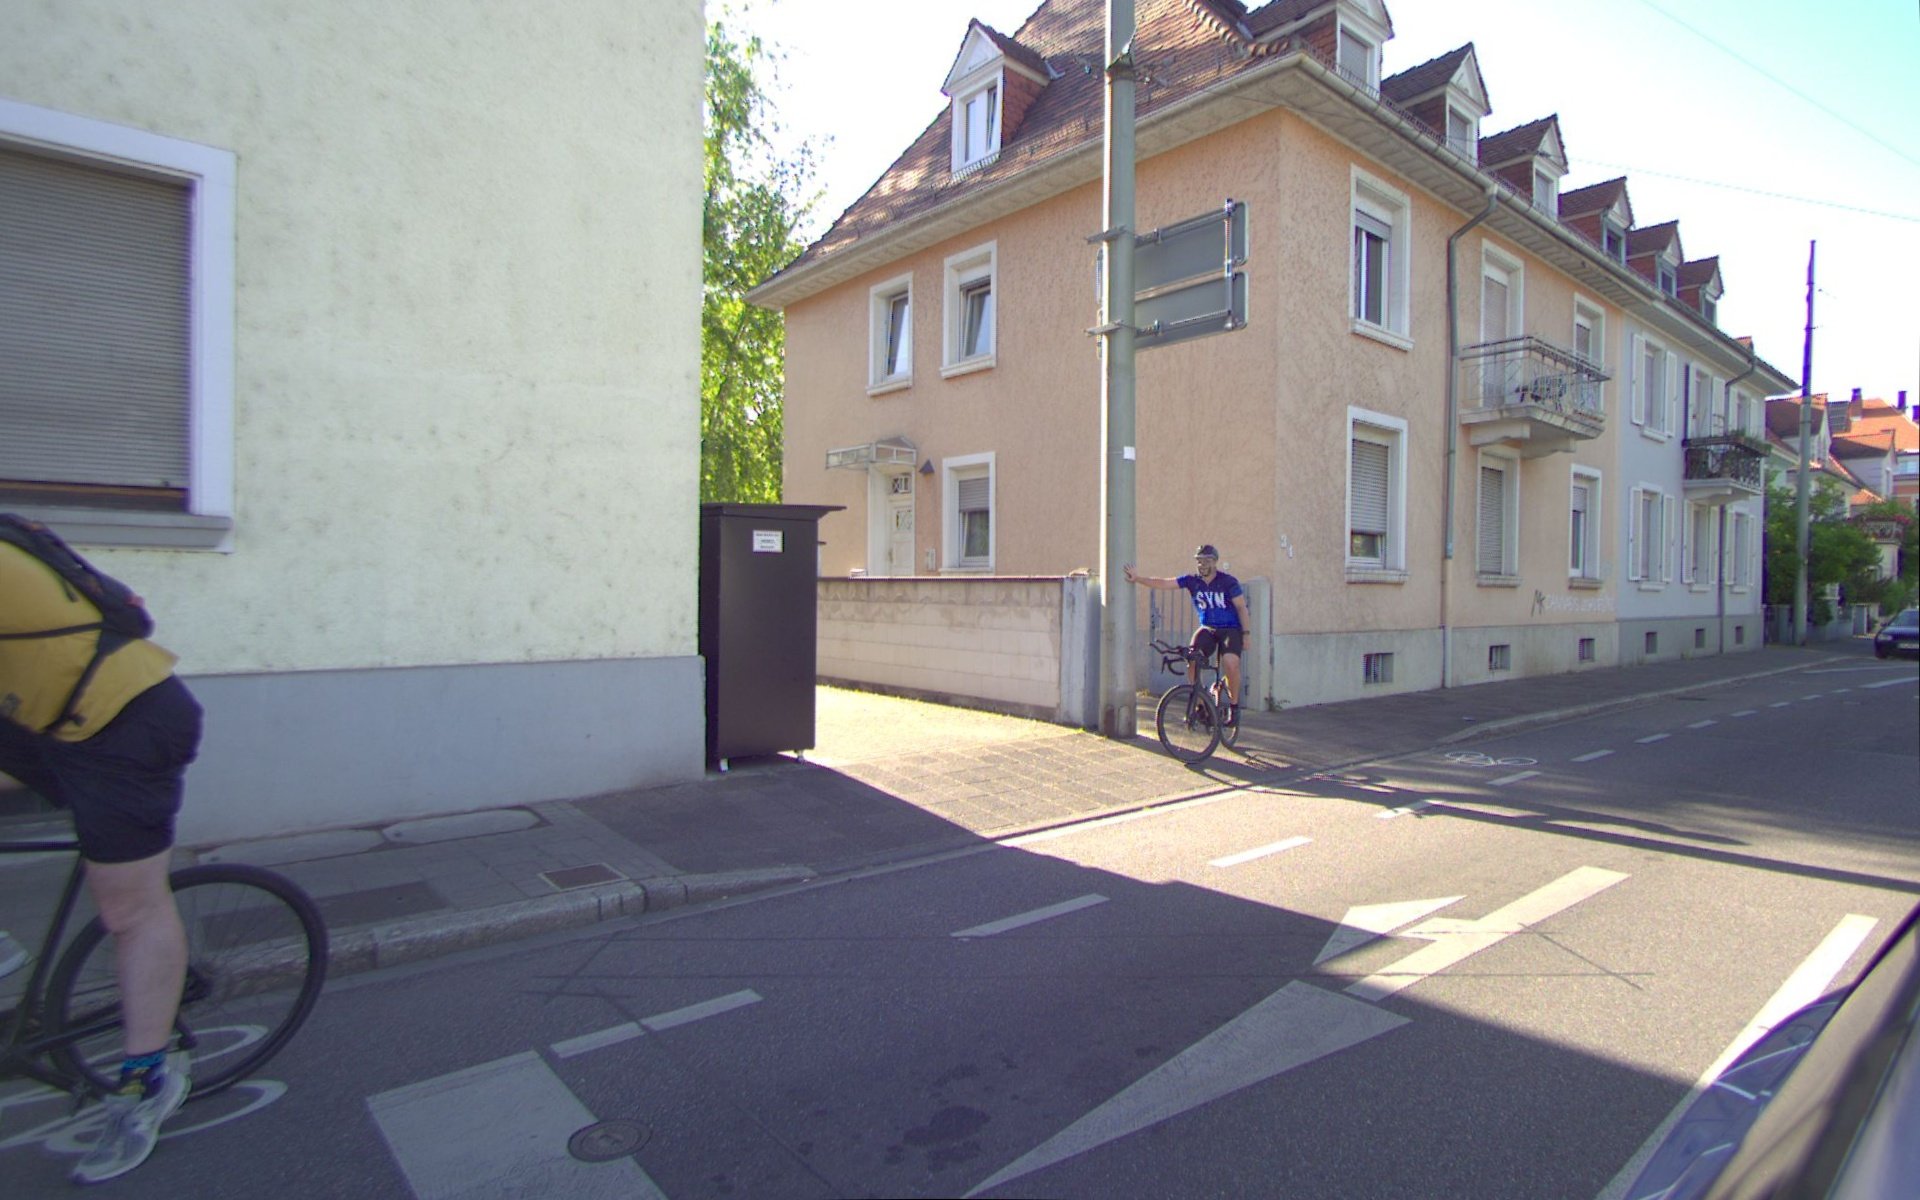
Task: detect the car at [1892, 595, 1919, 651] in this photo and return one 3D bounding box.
[{"bbox_3d":[26.648,0.606,27.325,3.932,1.438,1.845,0,1,-42],"label":"car"}]

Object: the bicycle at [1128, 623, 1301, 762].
[{"bbox_3d":[2.347,0.789,9.218,1.689,1.064,0.595,0,6,-41],"label":"bicycle"}]

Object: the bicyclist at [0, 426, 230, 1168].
[{"bbox_3d":[-2.466,0.459,2.572,0.939,1.743,0.582,0,0,-41],"label":"bicyclist"}]

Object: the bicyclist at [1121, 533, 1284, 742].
[{"bbox_3d":[2.242,0.305,9.432,0.838,1.758,1.072,0,6,-40],"label":"bicyclist"}]

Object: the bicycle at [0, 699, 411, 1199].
[{"bbox_3d":[-2.459,0.892,2.576,1.778,1.101,0.611,0,1,-41],"label":"bicycle"}]
